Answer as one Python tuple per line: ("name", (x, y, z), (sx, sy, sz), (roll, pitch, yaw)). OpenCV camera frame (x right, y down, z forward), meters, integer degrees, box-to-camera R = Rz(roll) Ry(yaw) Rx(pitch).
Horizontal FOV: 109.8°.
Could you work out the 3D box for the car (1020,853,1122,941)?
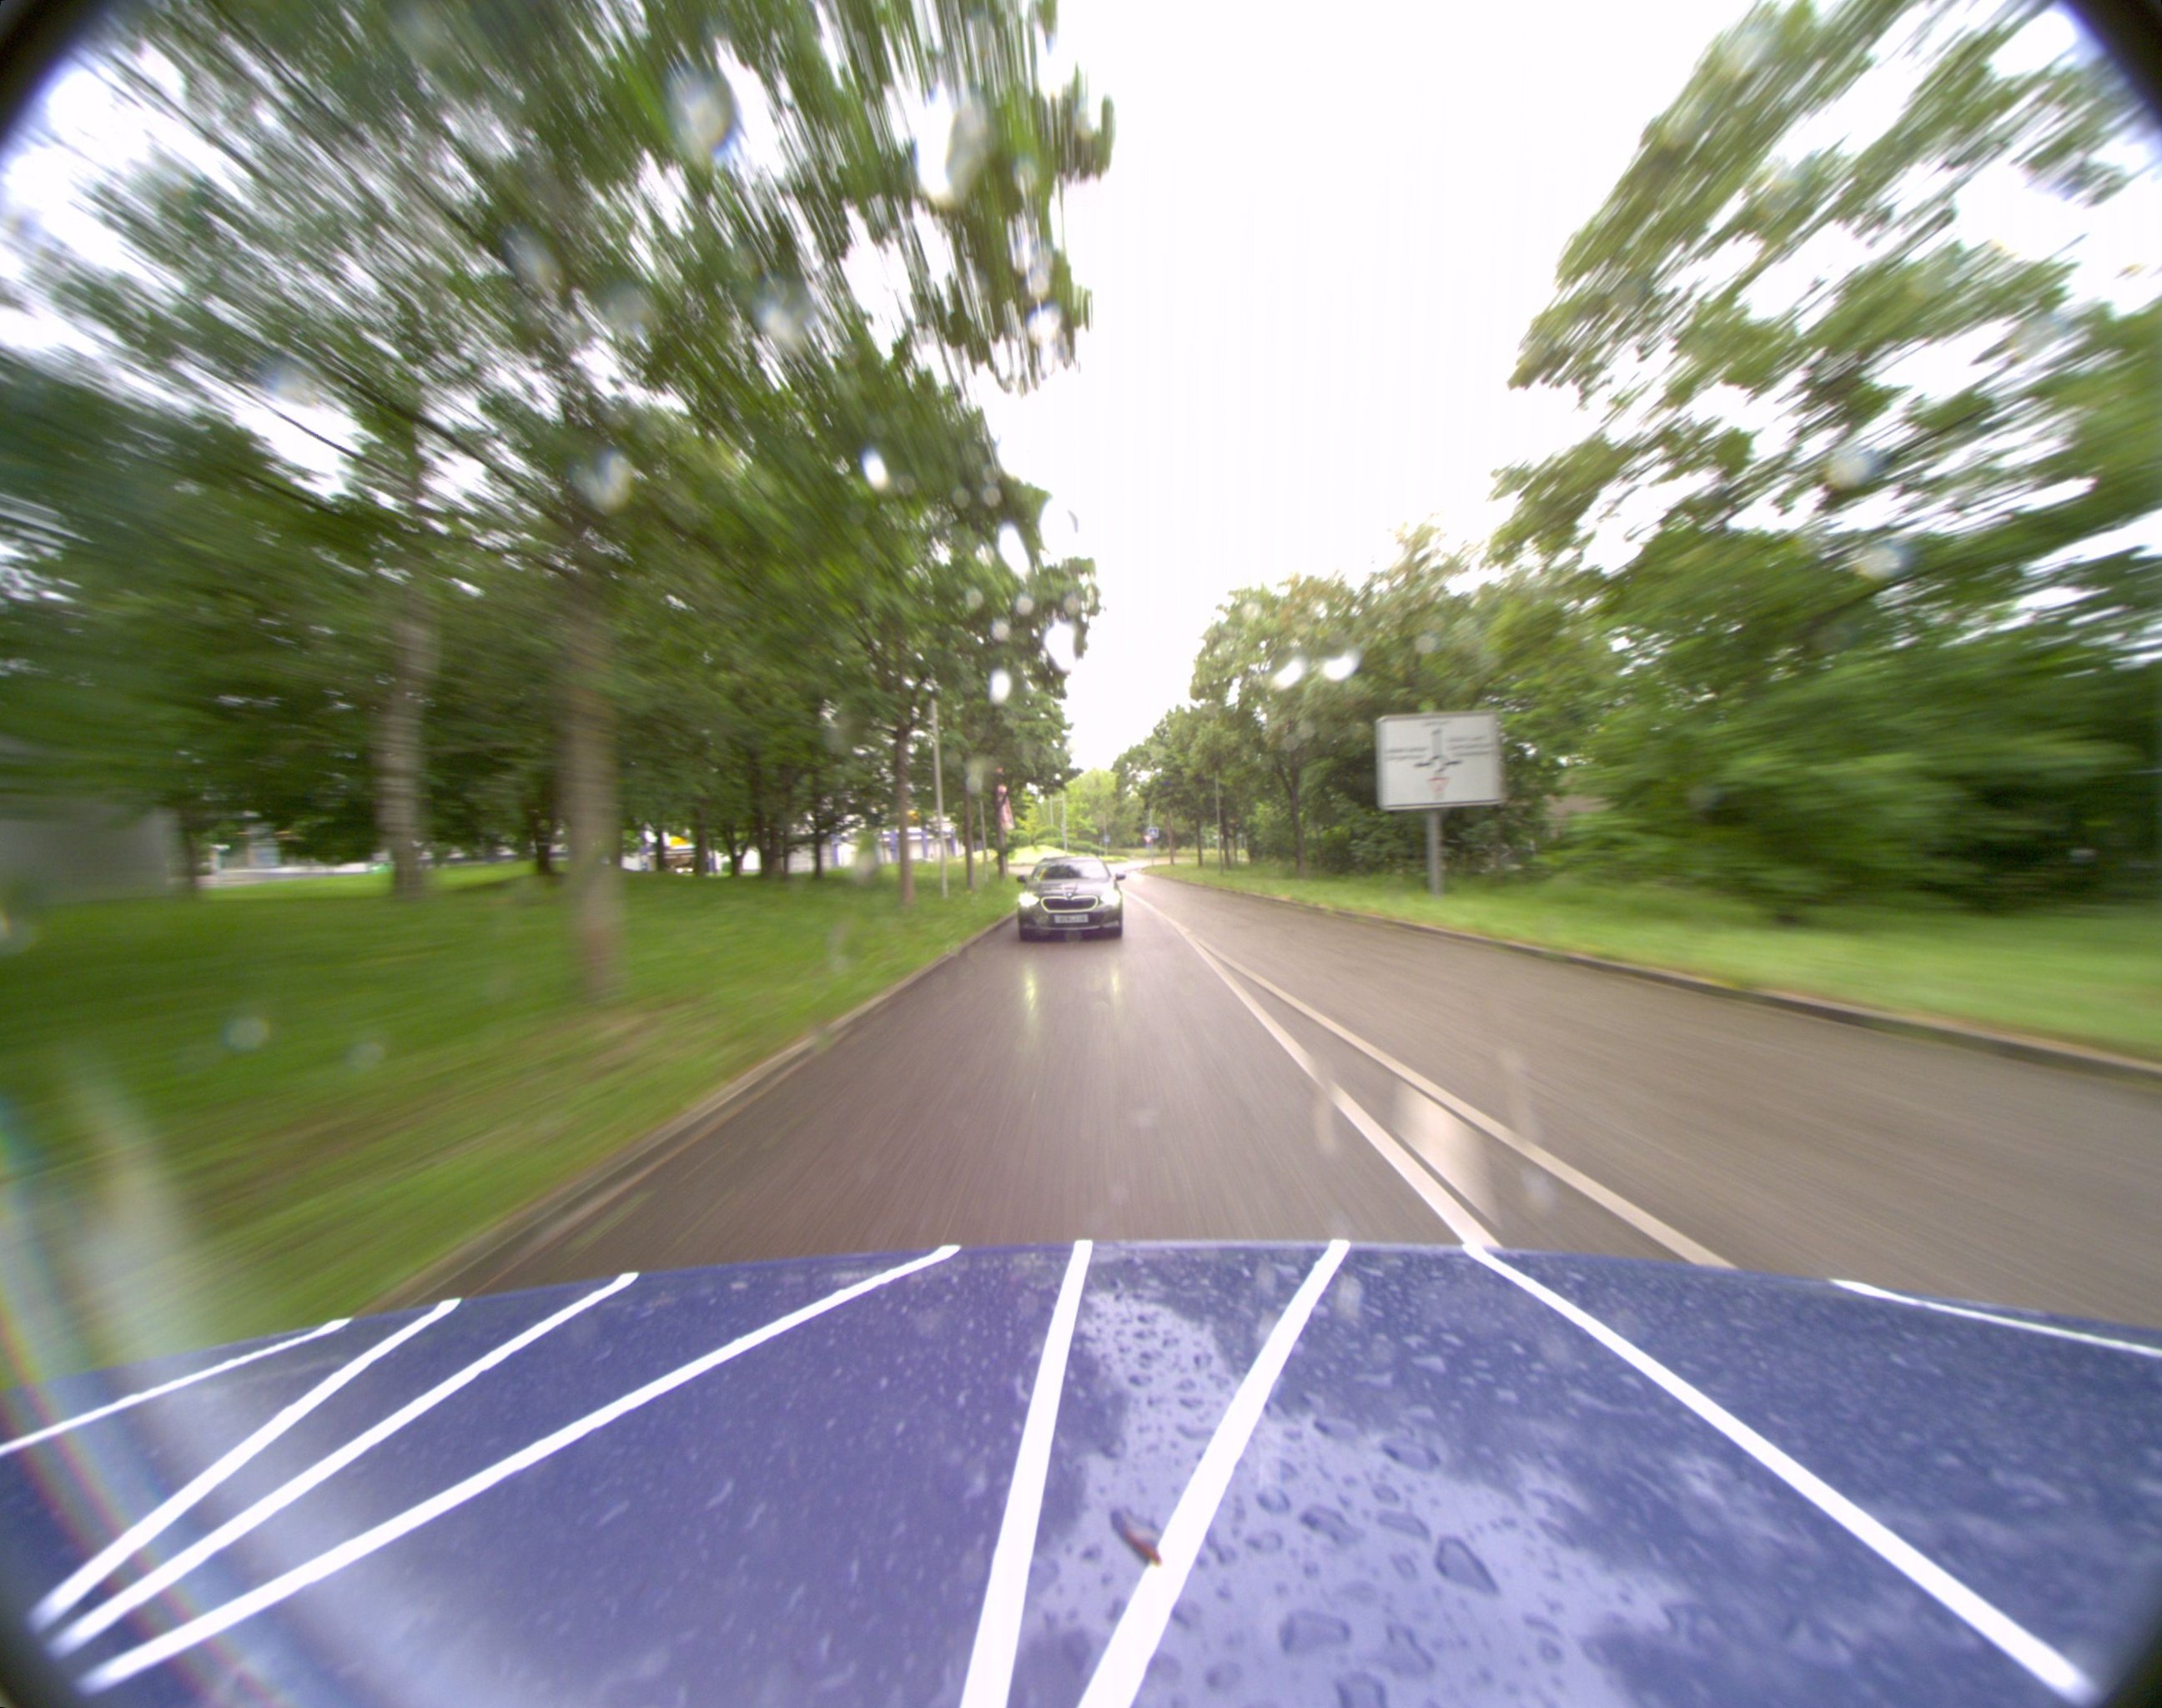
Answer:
("car", (-0.209, 0.805, 16.350), (1.845, 1.471, 3.999), (-4, 1, -1))
